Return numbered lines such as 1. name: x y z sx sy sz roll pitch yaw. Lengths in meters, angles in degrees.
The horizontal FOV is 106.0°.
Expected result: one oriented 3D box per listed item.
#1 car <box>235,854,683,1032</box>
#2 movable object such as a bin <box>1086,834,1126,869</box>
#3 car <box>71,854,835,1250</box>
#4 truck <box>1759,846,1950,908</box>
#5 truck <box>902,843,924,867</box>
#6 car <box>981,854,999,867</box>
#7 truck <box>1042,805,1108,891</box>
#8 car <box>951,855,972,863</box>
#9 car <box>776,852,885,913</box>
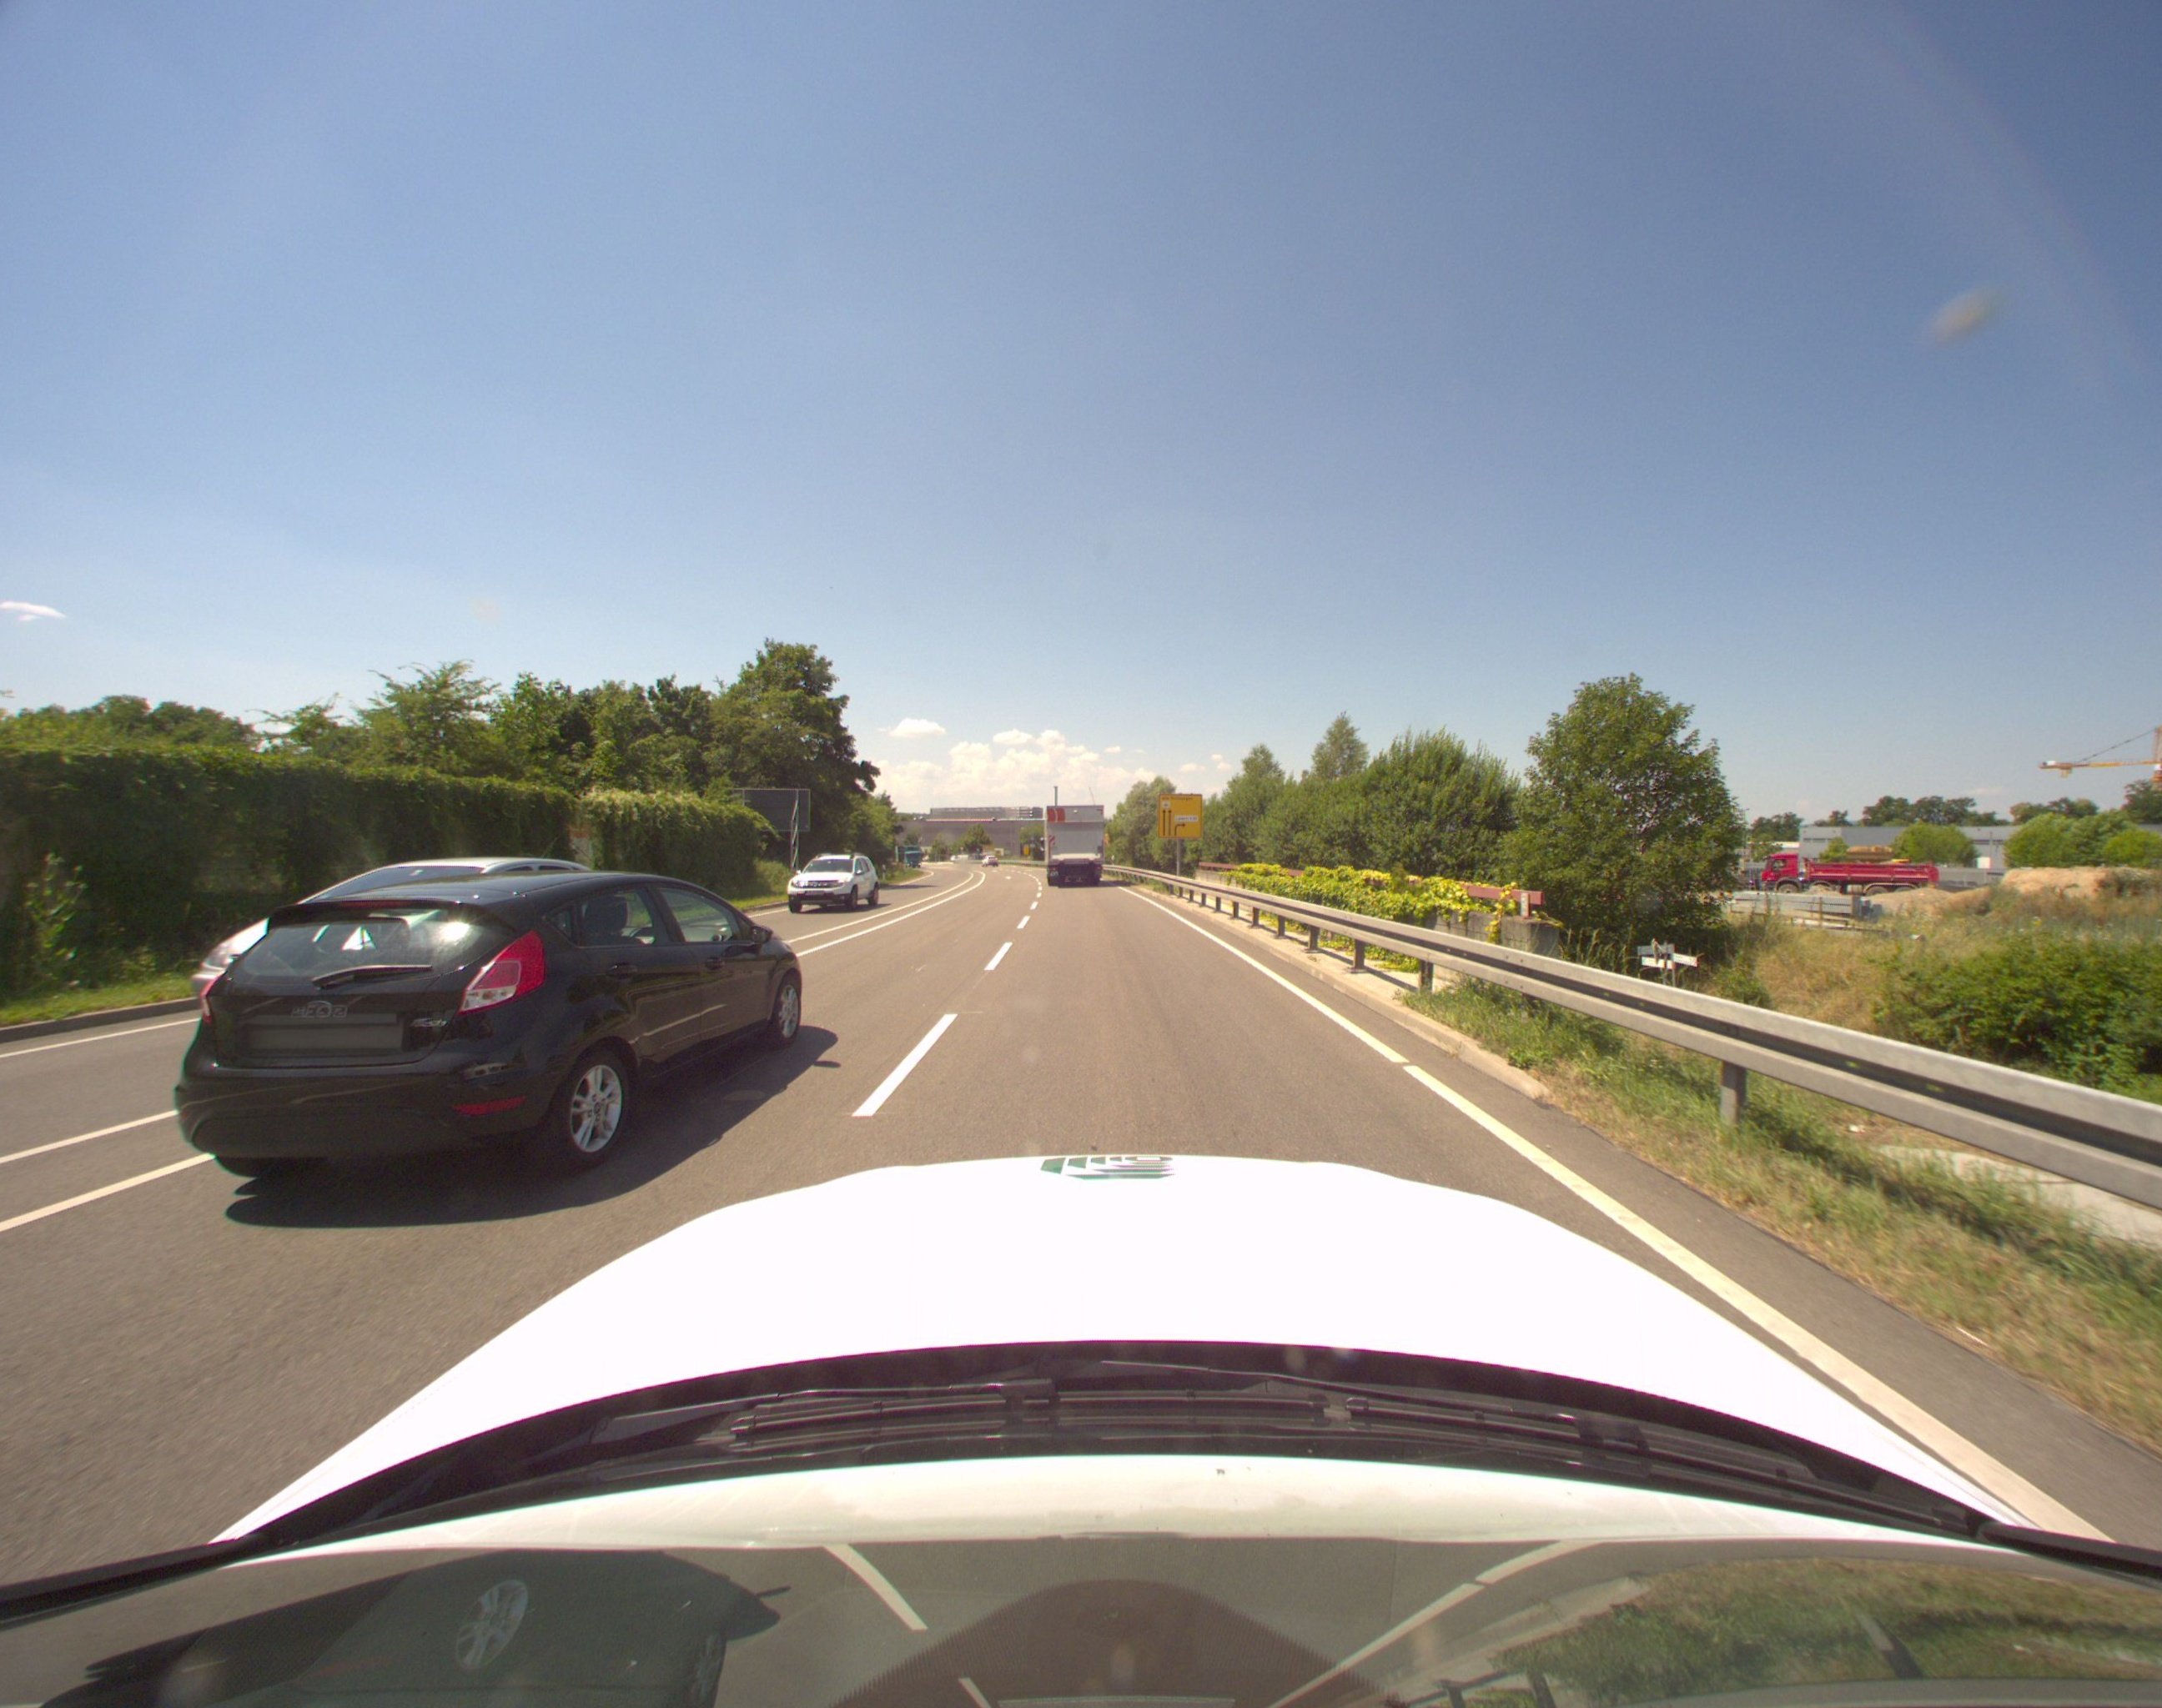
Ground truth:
1. car: -6.824 0.804 9.815 1.833 1.593 4.812 0 0 -3
2. movable object such as a bin: 3.929 -0.547 130.347 3.433 5.260 9.175 1 2 -18
3. car: -3.123 0.789 5.332 1.647 1.493 4.209 0 1 1
4. truck: 53.270 1.462 56.597 9.299 3.683 3.151 3 2 39
5. truck: -26.450 0.211 127.682 2.873 3.574 9.384 -1 0 -14
6. car: -12.631 0.898 113.136 1.946 1.664 3.981 2 -1 -14
7. truck: -0.113 -0.303 40.106 2.792 3.710 9.113 -1 0 2
8. car: -29.532 1.176 201.443 4.729 1.932 2.153 -1 0 0
9. car: -7.325 0.769 24.268 1.988 1.629 4.194 -1 0 -1
